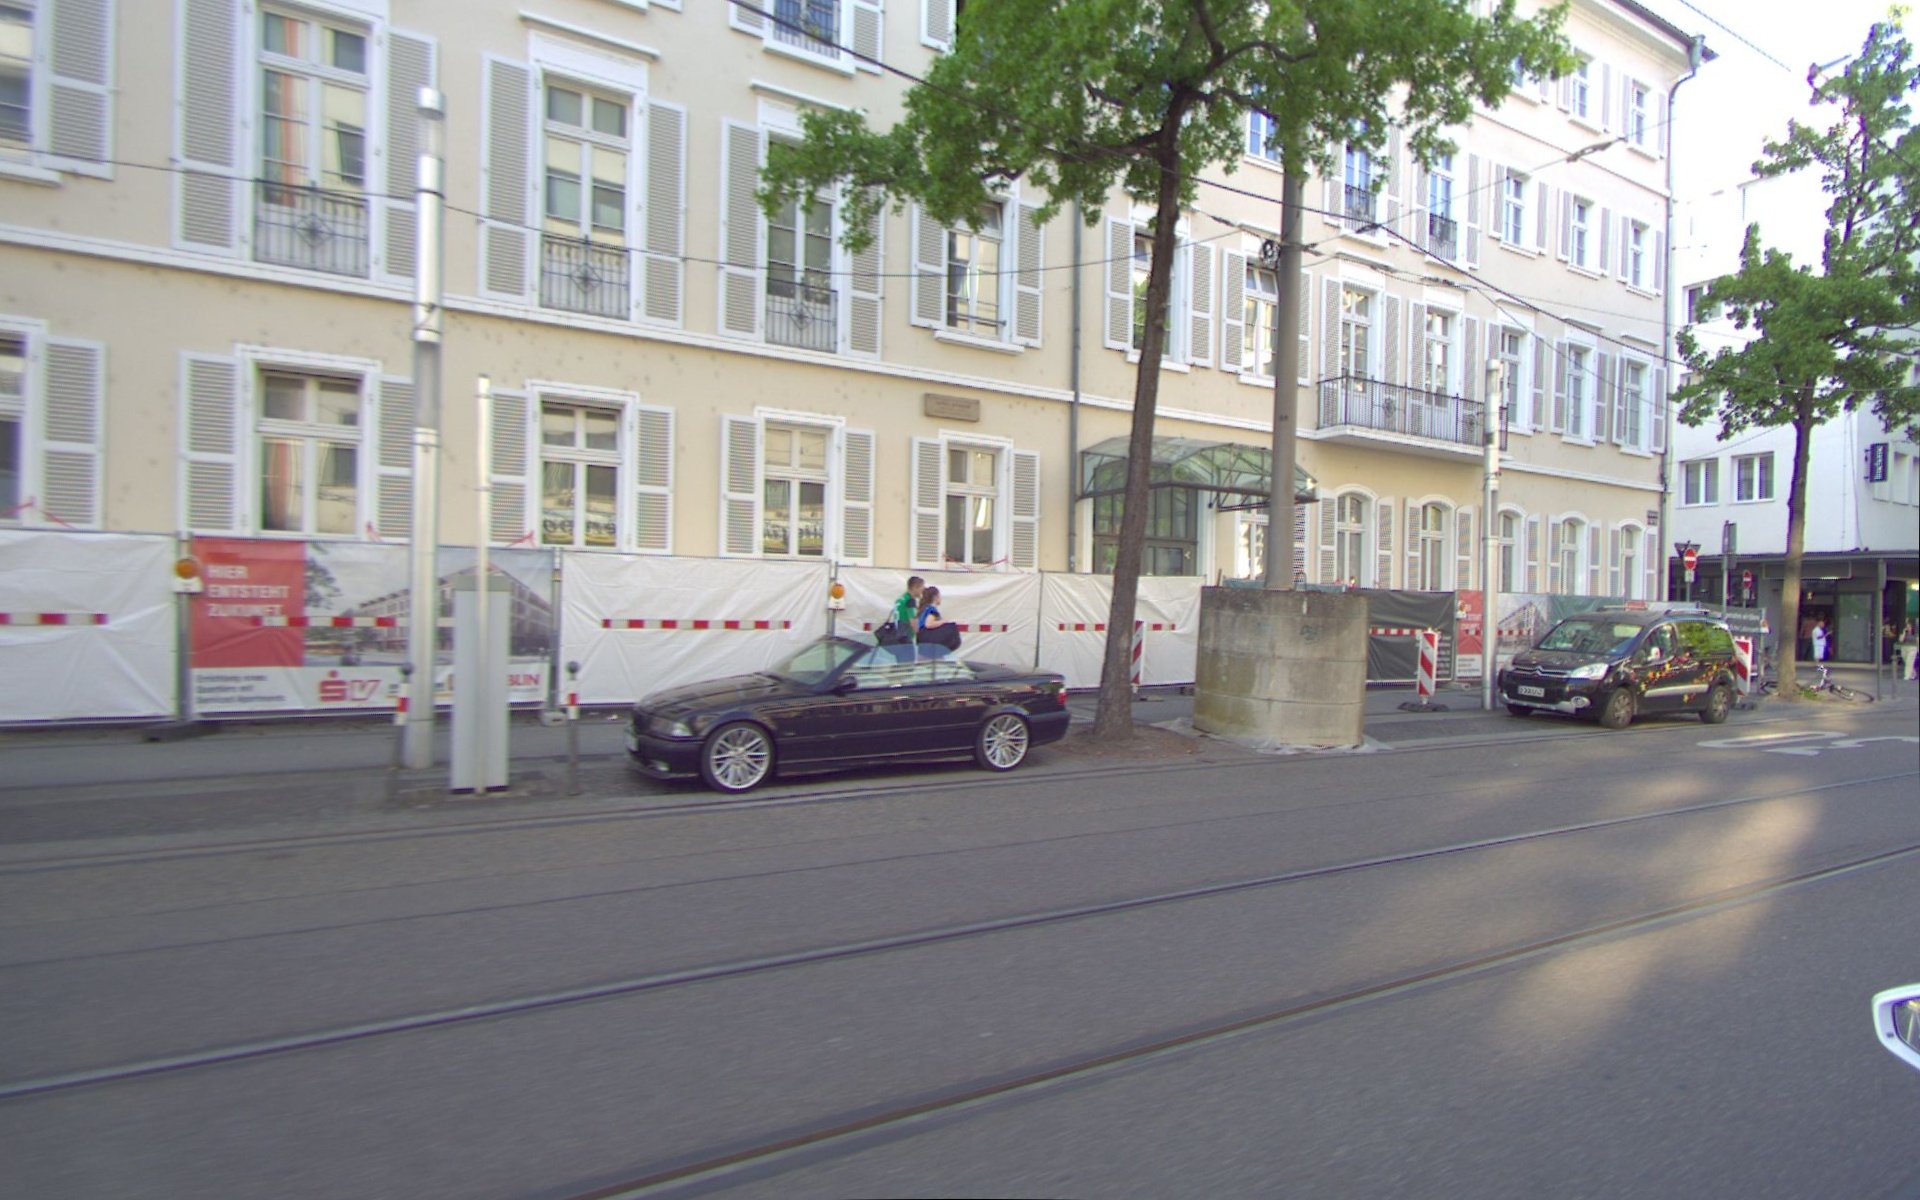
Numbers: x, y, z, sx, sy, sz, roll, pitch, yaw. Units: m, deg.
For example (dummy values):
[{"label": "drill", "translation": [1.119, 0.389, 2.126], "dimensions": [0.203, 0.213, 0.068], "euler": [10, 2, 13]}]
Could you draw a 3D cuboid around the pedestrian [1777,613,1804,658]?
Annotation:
[{"label": "pedestrian", "translation": [30.132, 1.273, 36.457], "dimensions": [0.608, 1.625, 0.405], "euler": [1, 0, 4]}]

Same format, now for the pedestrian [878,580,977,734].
[{"label": "pedestrian", "translation": [-0.415, 0.675, 12.470], "dimensions": [0.874, 1.806, 0.861], "euler": [1, 2, -30]}]

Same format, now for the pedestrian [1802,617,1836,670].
[{"label": "pedestrian", "translation": [27.909, 1.395, 32.644], "dimensions": [0.787, 1.636, 0.861], "euler": [1, 2, 43]}]

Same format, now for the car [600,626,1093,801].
[{"label": "car", "translation": [-1.016, 0.961, 9.800], "dimensions": [4.455, 1.262, 1.709], "euler": [1, 2, -31]}]

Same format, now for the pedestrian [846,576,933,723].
[{"label": "pedestrian", "translation": [-0.928, 0.626, 13.157], "dimensions": [0.866, 1.837, 0.715], "euler": [1, 2, -30]}]

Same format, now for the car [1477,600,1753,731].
[{"label": "car", "translation": [10.731, 0.991, 16.403], "dimensions": [4.503, 1.857, 1.850], "euler": [1, 0, -29]}]

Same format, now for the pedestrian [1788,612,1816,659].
[{"label": "pedestrian", "translation": [29.858, 1.257, 35.619], "dimensions": [0.608, 1.625, 0.405], "euler": [1, 0, 4]}]

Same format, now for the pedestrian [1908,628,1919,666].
[{"label": "pedestrian", "translation": [33.296, 1.641, 34.630], "dimensions": [0.730, 1.286, 0.642], "euler": [1, 1, -29]}]

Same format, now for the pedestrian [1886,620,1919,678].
[{"label": "pedestrian", "translation": [28.167, 1.432, 29.844], "dimensions": [0.955, 1.678, 0.704], "euler": [0, 0, -28]}]

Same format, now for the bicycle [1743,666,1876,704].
[{"label": "bicycle", "translation": [17.781, 1.759, 21.068], "dimensions": [1.265, 0.617, 1.789], "euler": [1, 1, -26]}]

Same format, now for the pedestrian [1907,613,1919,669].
[{"label": "pedestrian", "translation": [31.779, 1.356, 32.943], "dimensions": [0.751, 1.840, 0.685], "euler": [1, 1, -14]}]
